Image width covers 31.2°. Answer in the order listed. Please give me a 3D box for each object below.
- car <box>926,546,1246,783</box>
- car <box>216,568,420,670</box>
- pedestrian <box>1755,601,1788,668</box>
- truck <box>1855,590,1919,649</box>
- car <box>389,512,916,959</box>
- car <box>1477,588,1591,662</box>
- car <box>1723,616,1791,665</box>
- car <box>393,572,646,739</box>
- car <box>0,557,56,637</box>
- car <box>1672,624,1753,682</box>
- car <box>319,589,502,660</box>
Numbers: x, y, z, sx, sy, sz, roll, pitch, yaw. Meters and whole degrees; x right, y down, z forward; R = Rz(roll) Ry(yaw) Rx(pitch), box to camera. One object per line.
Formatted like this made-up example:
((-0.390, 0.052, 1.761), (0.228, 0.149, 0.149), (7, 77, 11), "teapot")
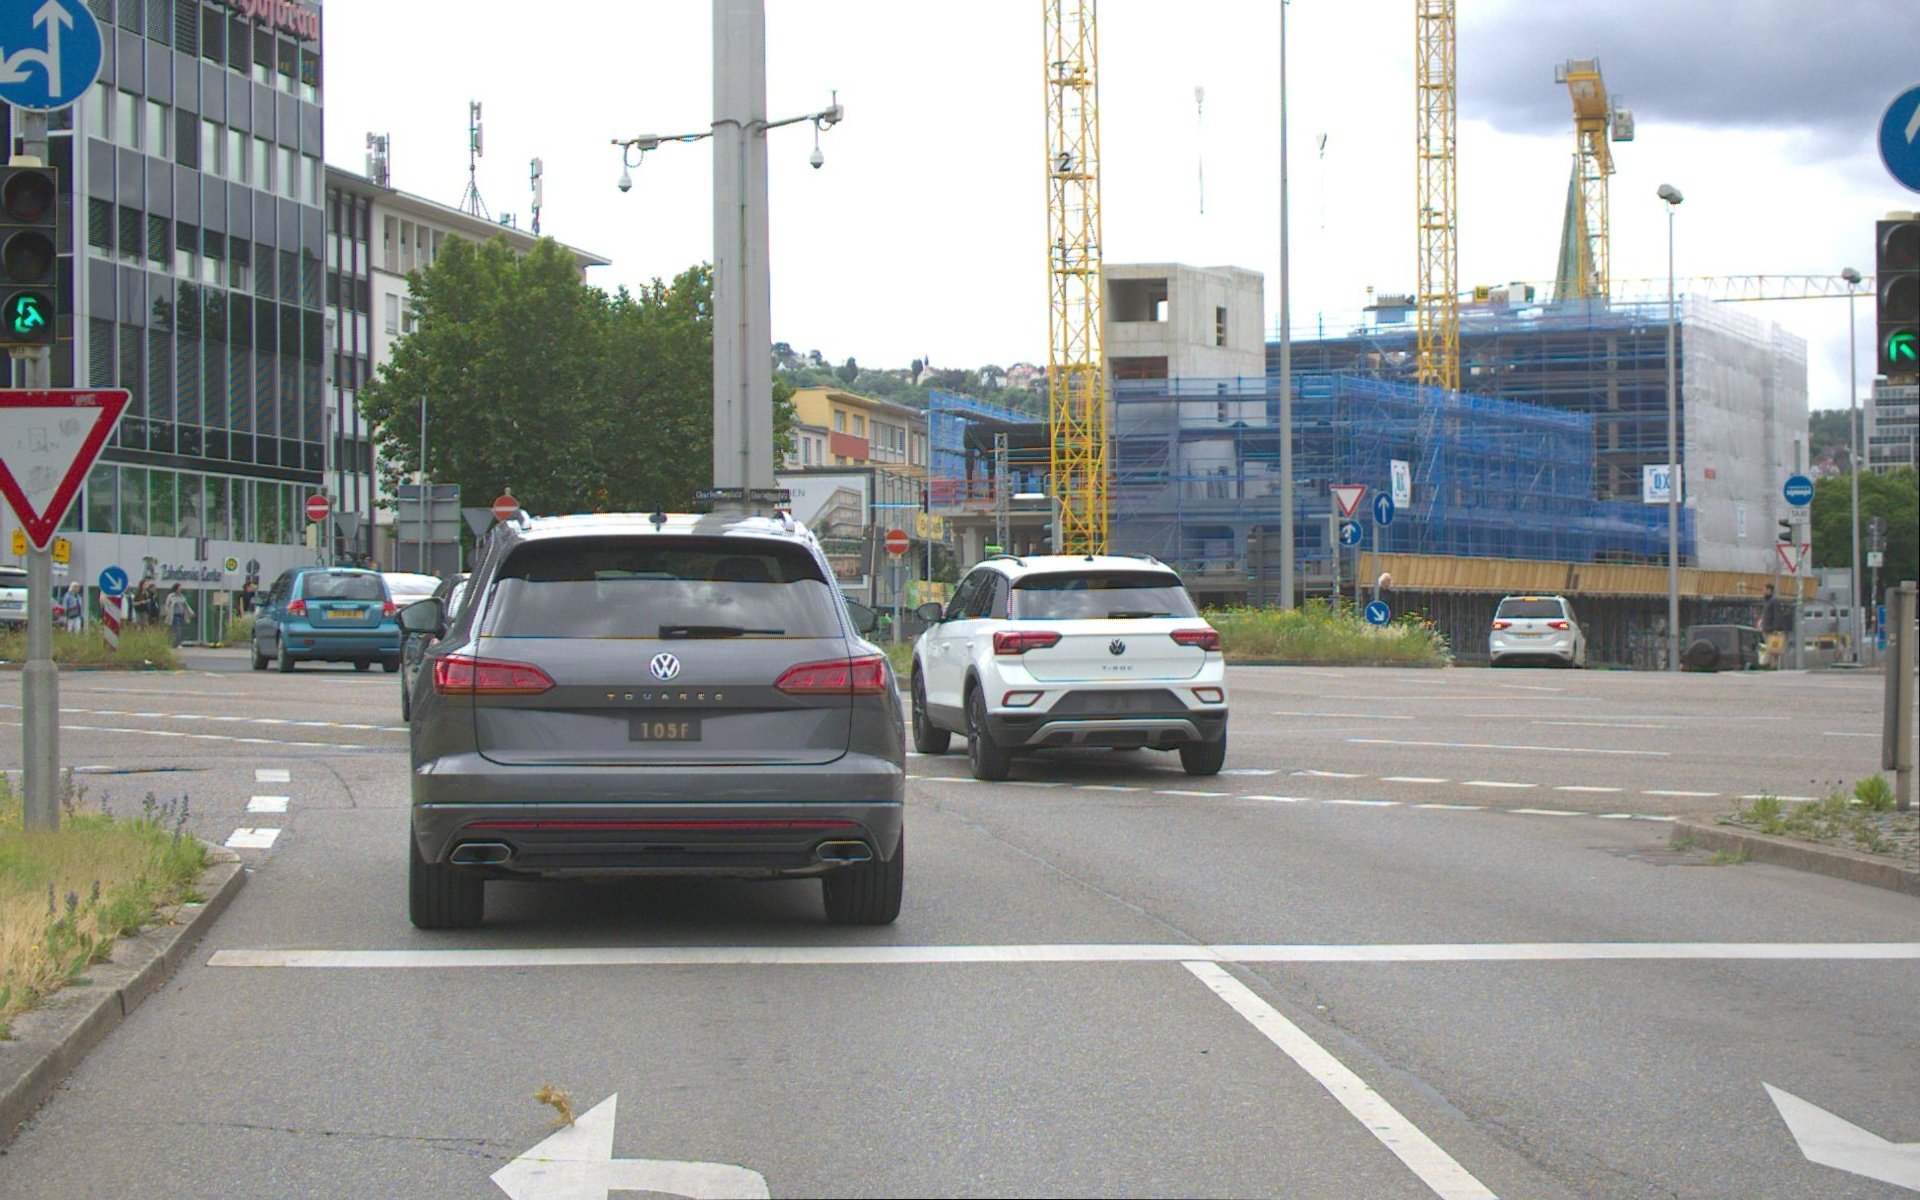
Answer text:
((0.840, 0.412, 25.236), (1.893, 1.580, 3.801), (0, 1, -5), "car")
((-9.056, 0.240, 48.263), (1.792, 1.352, 4.071), (0, 1, -26), "car")
((15.782, 0.668, 66.848), (0.549, 1.277, 0.462), (1, 1, 22), "pedestrian")
((39.666, 0.806, 147.021), (2.130, 2.445, 4.822), (1, 1, 22), "truck")
((-1.347, 0.455, 14.687), (1.932, 1.641, 4.001), (0, 1, -6), "car")
((12.349, 0.513, 73.763), (1.804, 1.497, 3.977), (1, 1, 18), "car")
((26.372, 1.321, 113.685), (1.804, 1.497, 3.977), (1, 1, 18), "car")
((-3.934, 0.435, 30.199), (1.792, 1.352, 4.071), (0, 1, -13), "car")
((-19.296, -0.088, 66.865), (1.815, 1.491, 3.905), (-1, 2, -40), "car")
((21.161, 1.465, 96.532), (1.804, 1.497, 3.977), (1, 1, 18), "car")
((-9.416, 0.394, 58.683), (1.670, 1.135, 4.070), (0, 1, -31), "car")
